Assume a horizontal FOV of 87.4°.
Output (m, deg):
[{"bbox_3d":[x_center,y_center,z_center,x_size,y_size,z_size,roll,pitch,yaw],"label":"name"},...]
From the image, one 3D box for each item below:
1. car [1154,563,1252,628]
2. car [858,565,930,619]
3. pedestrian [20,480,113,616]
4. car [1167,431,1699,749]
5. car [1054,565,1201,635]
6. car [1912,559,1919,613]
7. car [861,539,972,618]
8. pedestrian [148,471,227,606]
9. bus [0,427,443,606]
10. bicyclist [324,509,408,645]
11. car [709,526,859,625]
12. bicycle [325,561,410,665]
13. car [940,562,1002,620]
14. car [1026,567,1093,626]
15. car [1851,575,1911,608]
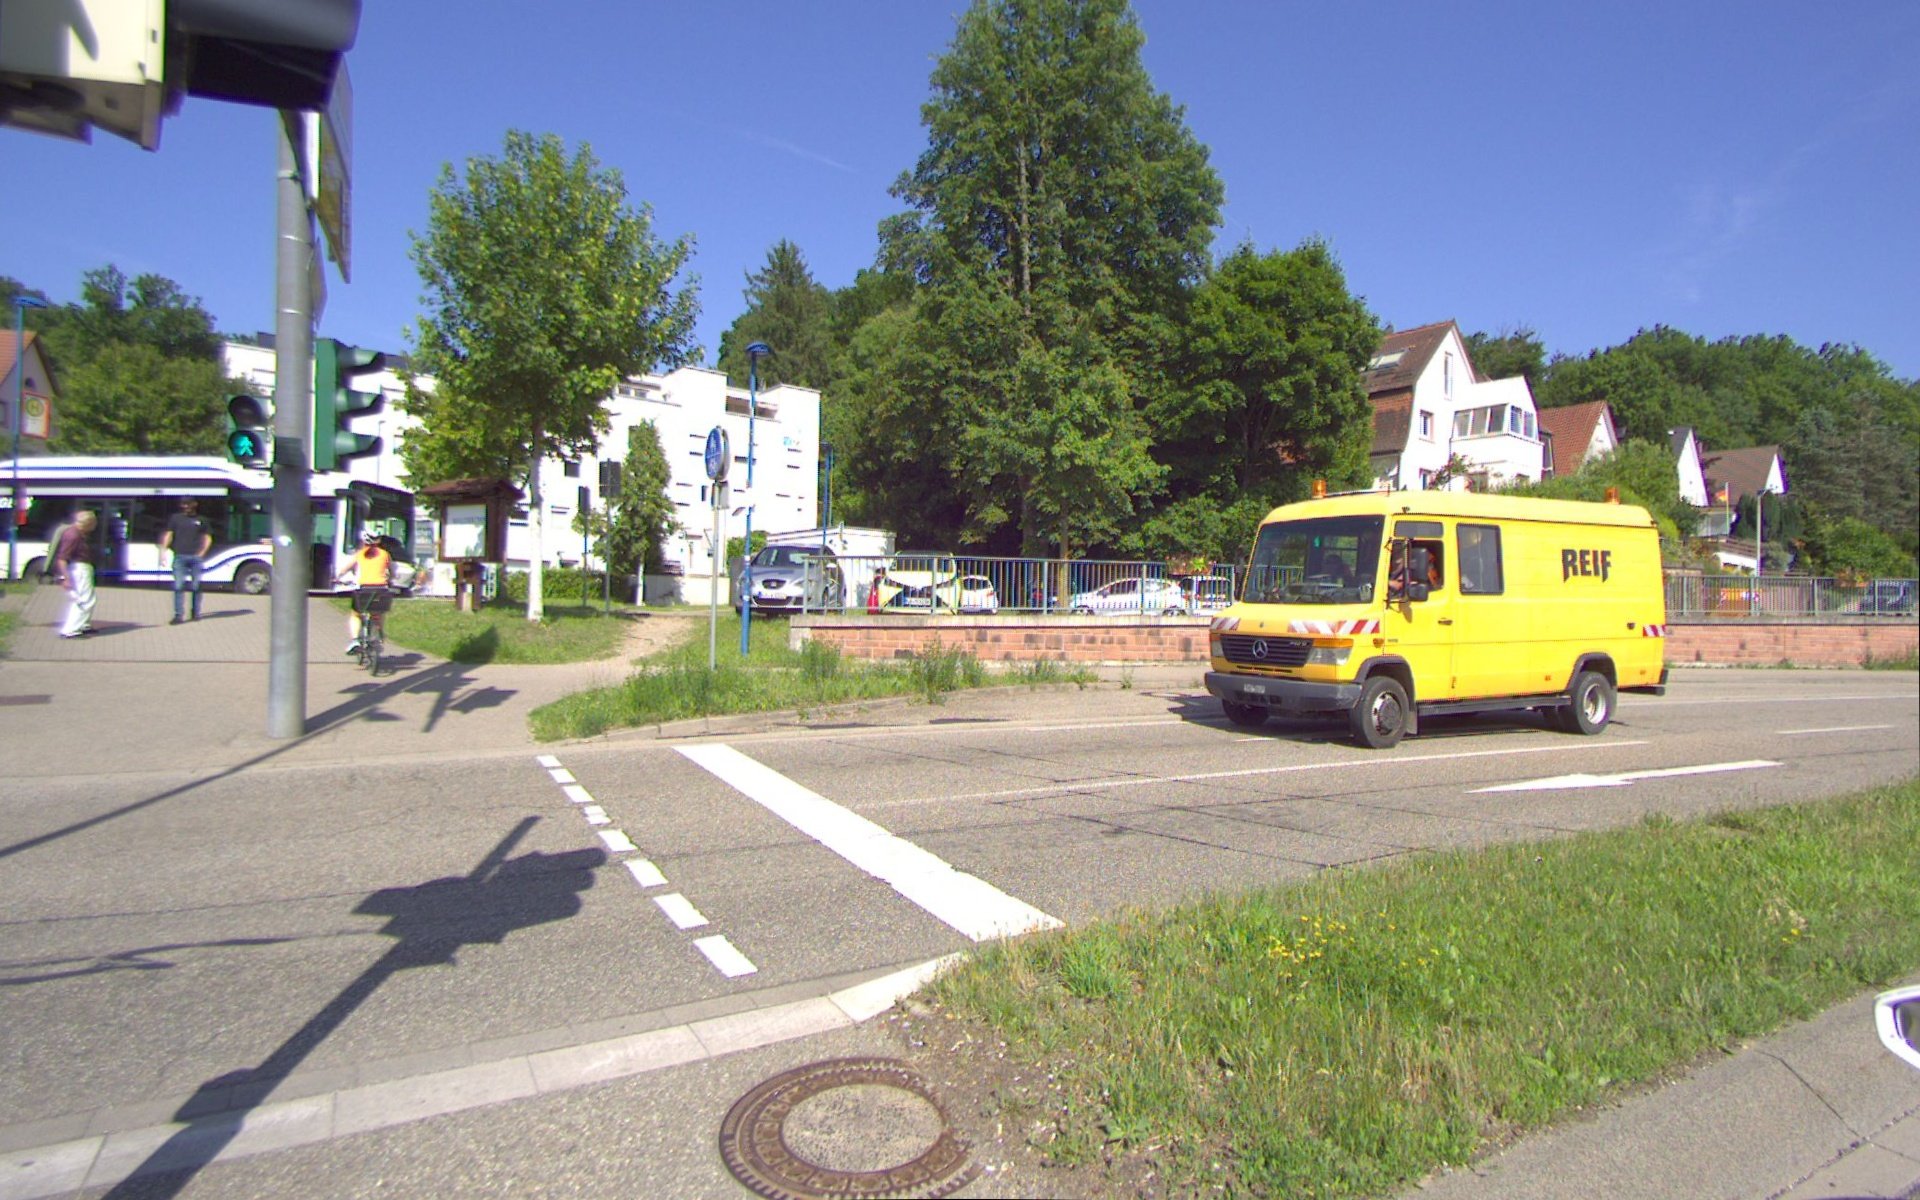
[{"bbox_3d":[7.753,-0.201,32.445,1.877,1.901,3.996,1,3,-5],"label":"car"},{"bbox_3d":[-2.067,-0.314,32.707,1.876,1.581,4.000,1,3,3],"label":"car"},{"bbox_3d":[-11.552,-0.666,13.012,0.732,1.700,0.707,0,3,-30],"label":"pedestrian"},{"bbox_3d":[5.868,-0.070,12.233,6.386,3.051,2.457,1,2,-28],"label":"car"},{"bbox_3d":[4.694,-0.013,28.624,3.920,1.813,1.922,2,1,3],"label":"car"},{"bbox_3d":[47.025,-0.637,47.709,5.741,2.477,2.074,-1,4,-42],"label":"car"},{"bbox_3d":[-0.774,-0.479,20.486,1.876,1.400,4.000,1,3,3],"label":"car"},{"bbox_3d":[-11.595,-0.916,15.093,0.847,1.934,0.735,1,4,-31],"label":"pedestrian"},{"bbox_3d":[-18.691,-1.976,23.696,11.971,3.764,2.870,2,3,7],"label":"bus"},{"bbox_3d":[-7.301,-0.299,12.332,0.799,1.586,0.947,-1,4,-36],"label":"bicyclist"},{"bbox_3d":[-3.418,-0.548,20.409,2.016,1.719,4.415,2,3,3],"label":"car"},{"bbox_3d":[-7.316,0.116,12.362,0.728,1.079,1.952,-1,5,-36],"label":"bicycle"},{"bbox_3d":[0.341,-0.355,32.754,1.876,1.724,3.999,1,3,0],"label":"car"},{"bbox_3d":[3.149,-0.164,32.088,1.960,1.694,4.001,1,3,5],"label":"car"},{"bbox_3d":[48.427,-0.443,52.819,3.969,1.651,1.878,1,1,-41],"label":"car"}]
